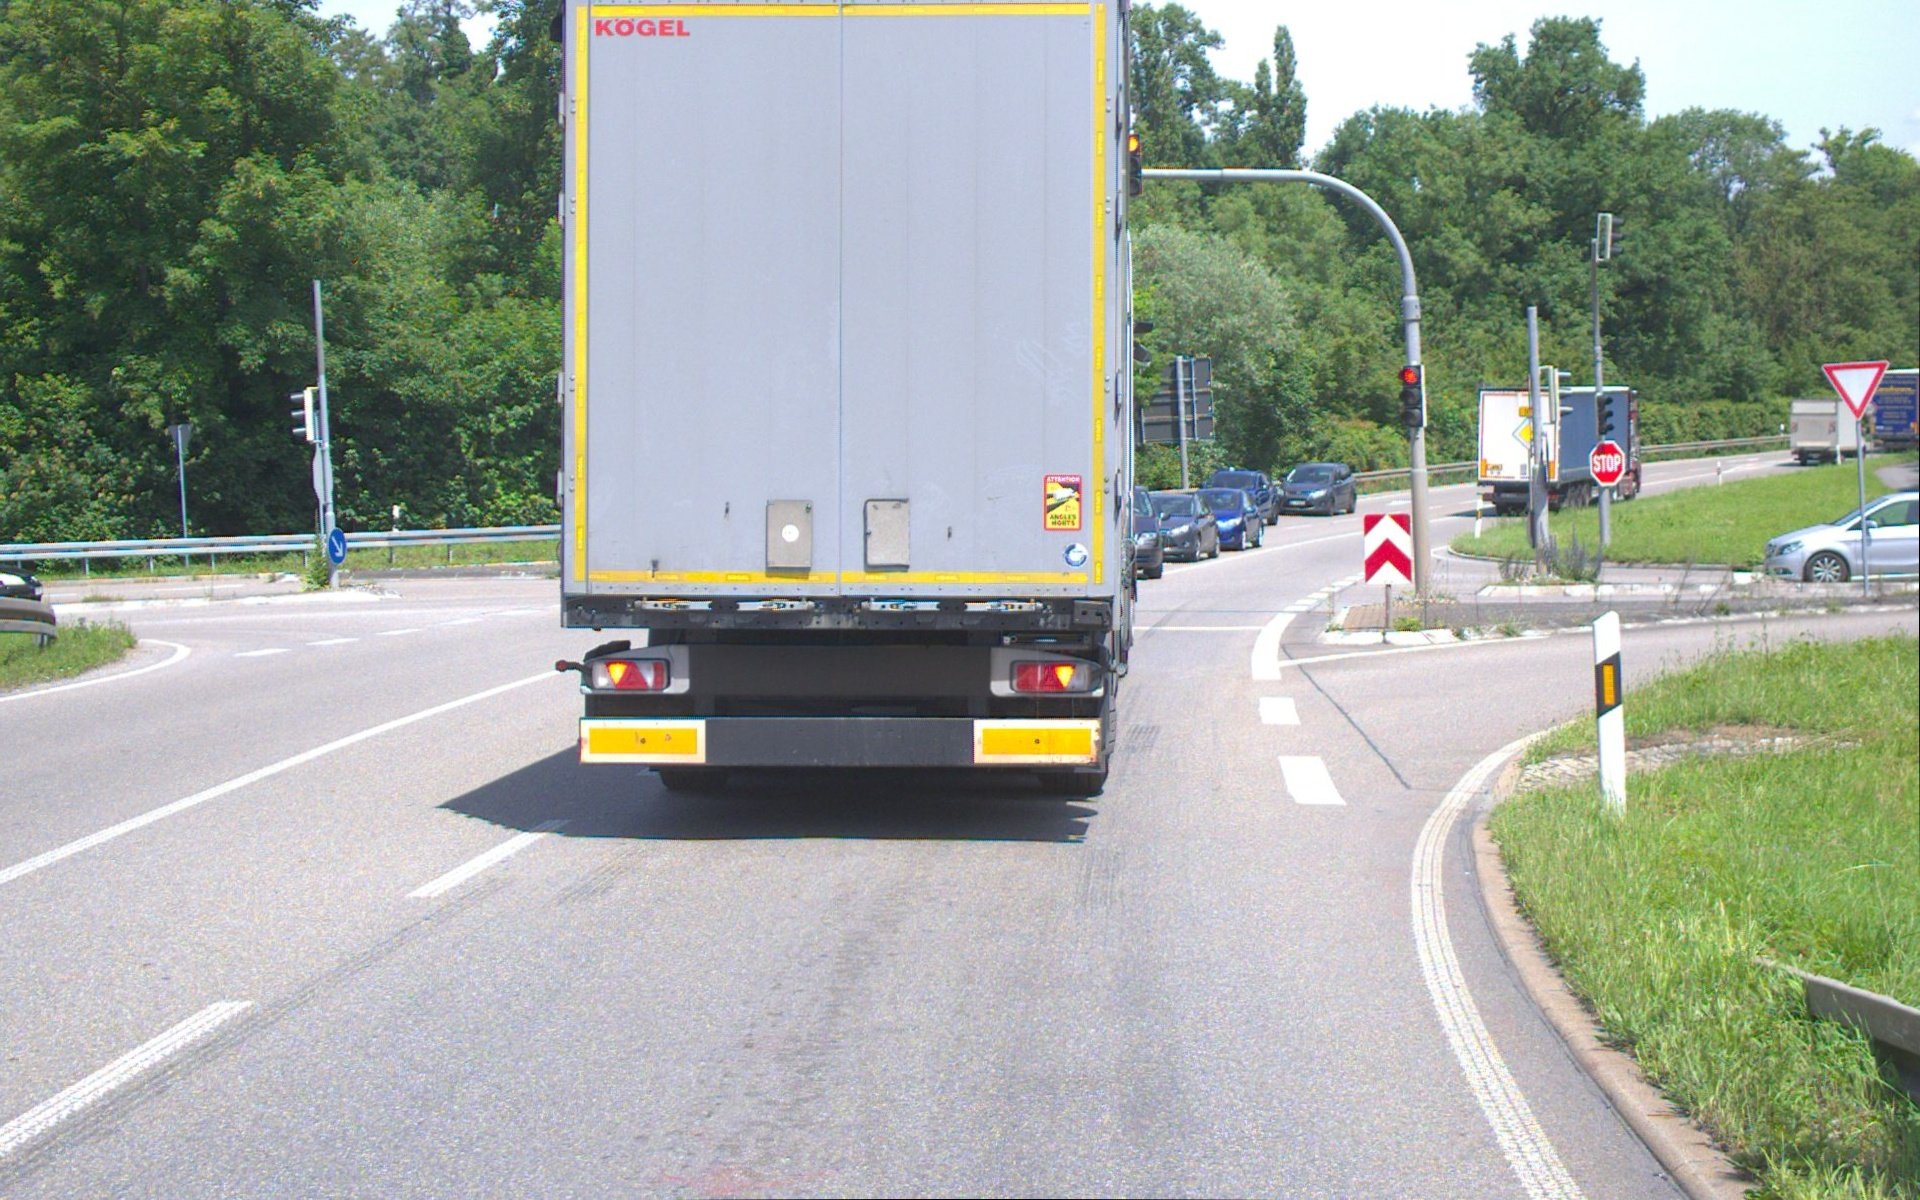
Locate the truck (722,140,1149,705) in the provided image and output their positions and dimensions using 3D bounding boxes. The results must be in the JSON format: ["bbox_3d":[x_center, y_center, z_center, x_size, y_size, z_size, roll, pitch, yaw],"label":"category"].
[{"bbox_3d":[-0.034,-1.387,27.901,3.038,4.019,6.629,0,2,2],"label":"truck"}]

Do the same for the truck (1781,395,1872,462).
[{"bbox_3d":[39.894,-7.840,158.109,2.859,2.938,7.096,1,2,24],"label":"truck"}]

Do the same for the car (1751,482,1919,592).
[{"bbox_3d":[15.194,-0.996,55.698,4.429,1.712,1.999,1,0,7],"label":"car"}]

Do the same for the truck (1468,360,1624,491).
[{"bbox_3d":[19.169,-5.661,111.840,3.182,4.014,11.736,1,3,19],"label":"truck"}]

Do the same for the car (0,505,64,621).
[{"bbox_3d":[-16.389,-0.581,53.562,4.236,1.764,1.999,0,1,12],"label":"car"}]

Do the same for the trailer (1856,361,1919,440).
[{"bbox_3d":[47.439,-9.973,172.559,3.255,3.672,9.239,1,2,24],"label":"trailer"}]

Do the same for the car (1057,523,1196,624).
[{"bbox_3d":[3.160,-0.463,64.131,1.994,1.779,4.940,1,0,10],"label":"car"}]

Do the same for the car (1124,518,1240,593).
[{"bbox_3d":[4.699,-0.913,72.159,1.994,1.485,4.256,1,0,10],"label":"car"}]

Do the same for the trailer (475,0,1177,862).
[{"bbox_3d":[-0.318,-1.107,21.276,3.052,4.019,12.559,0,2,2],"label":"trailer"}]
